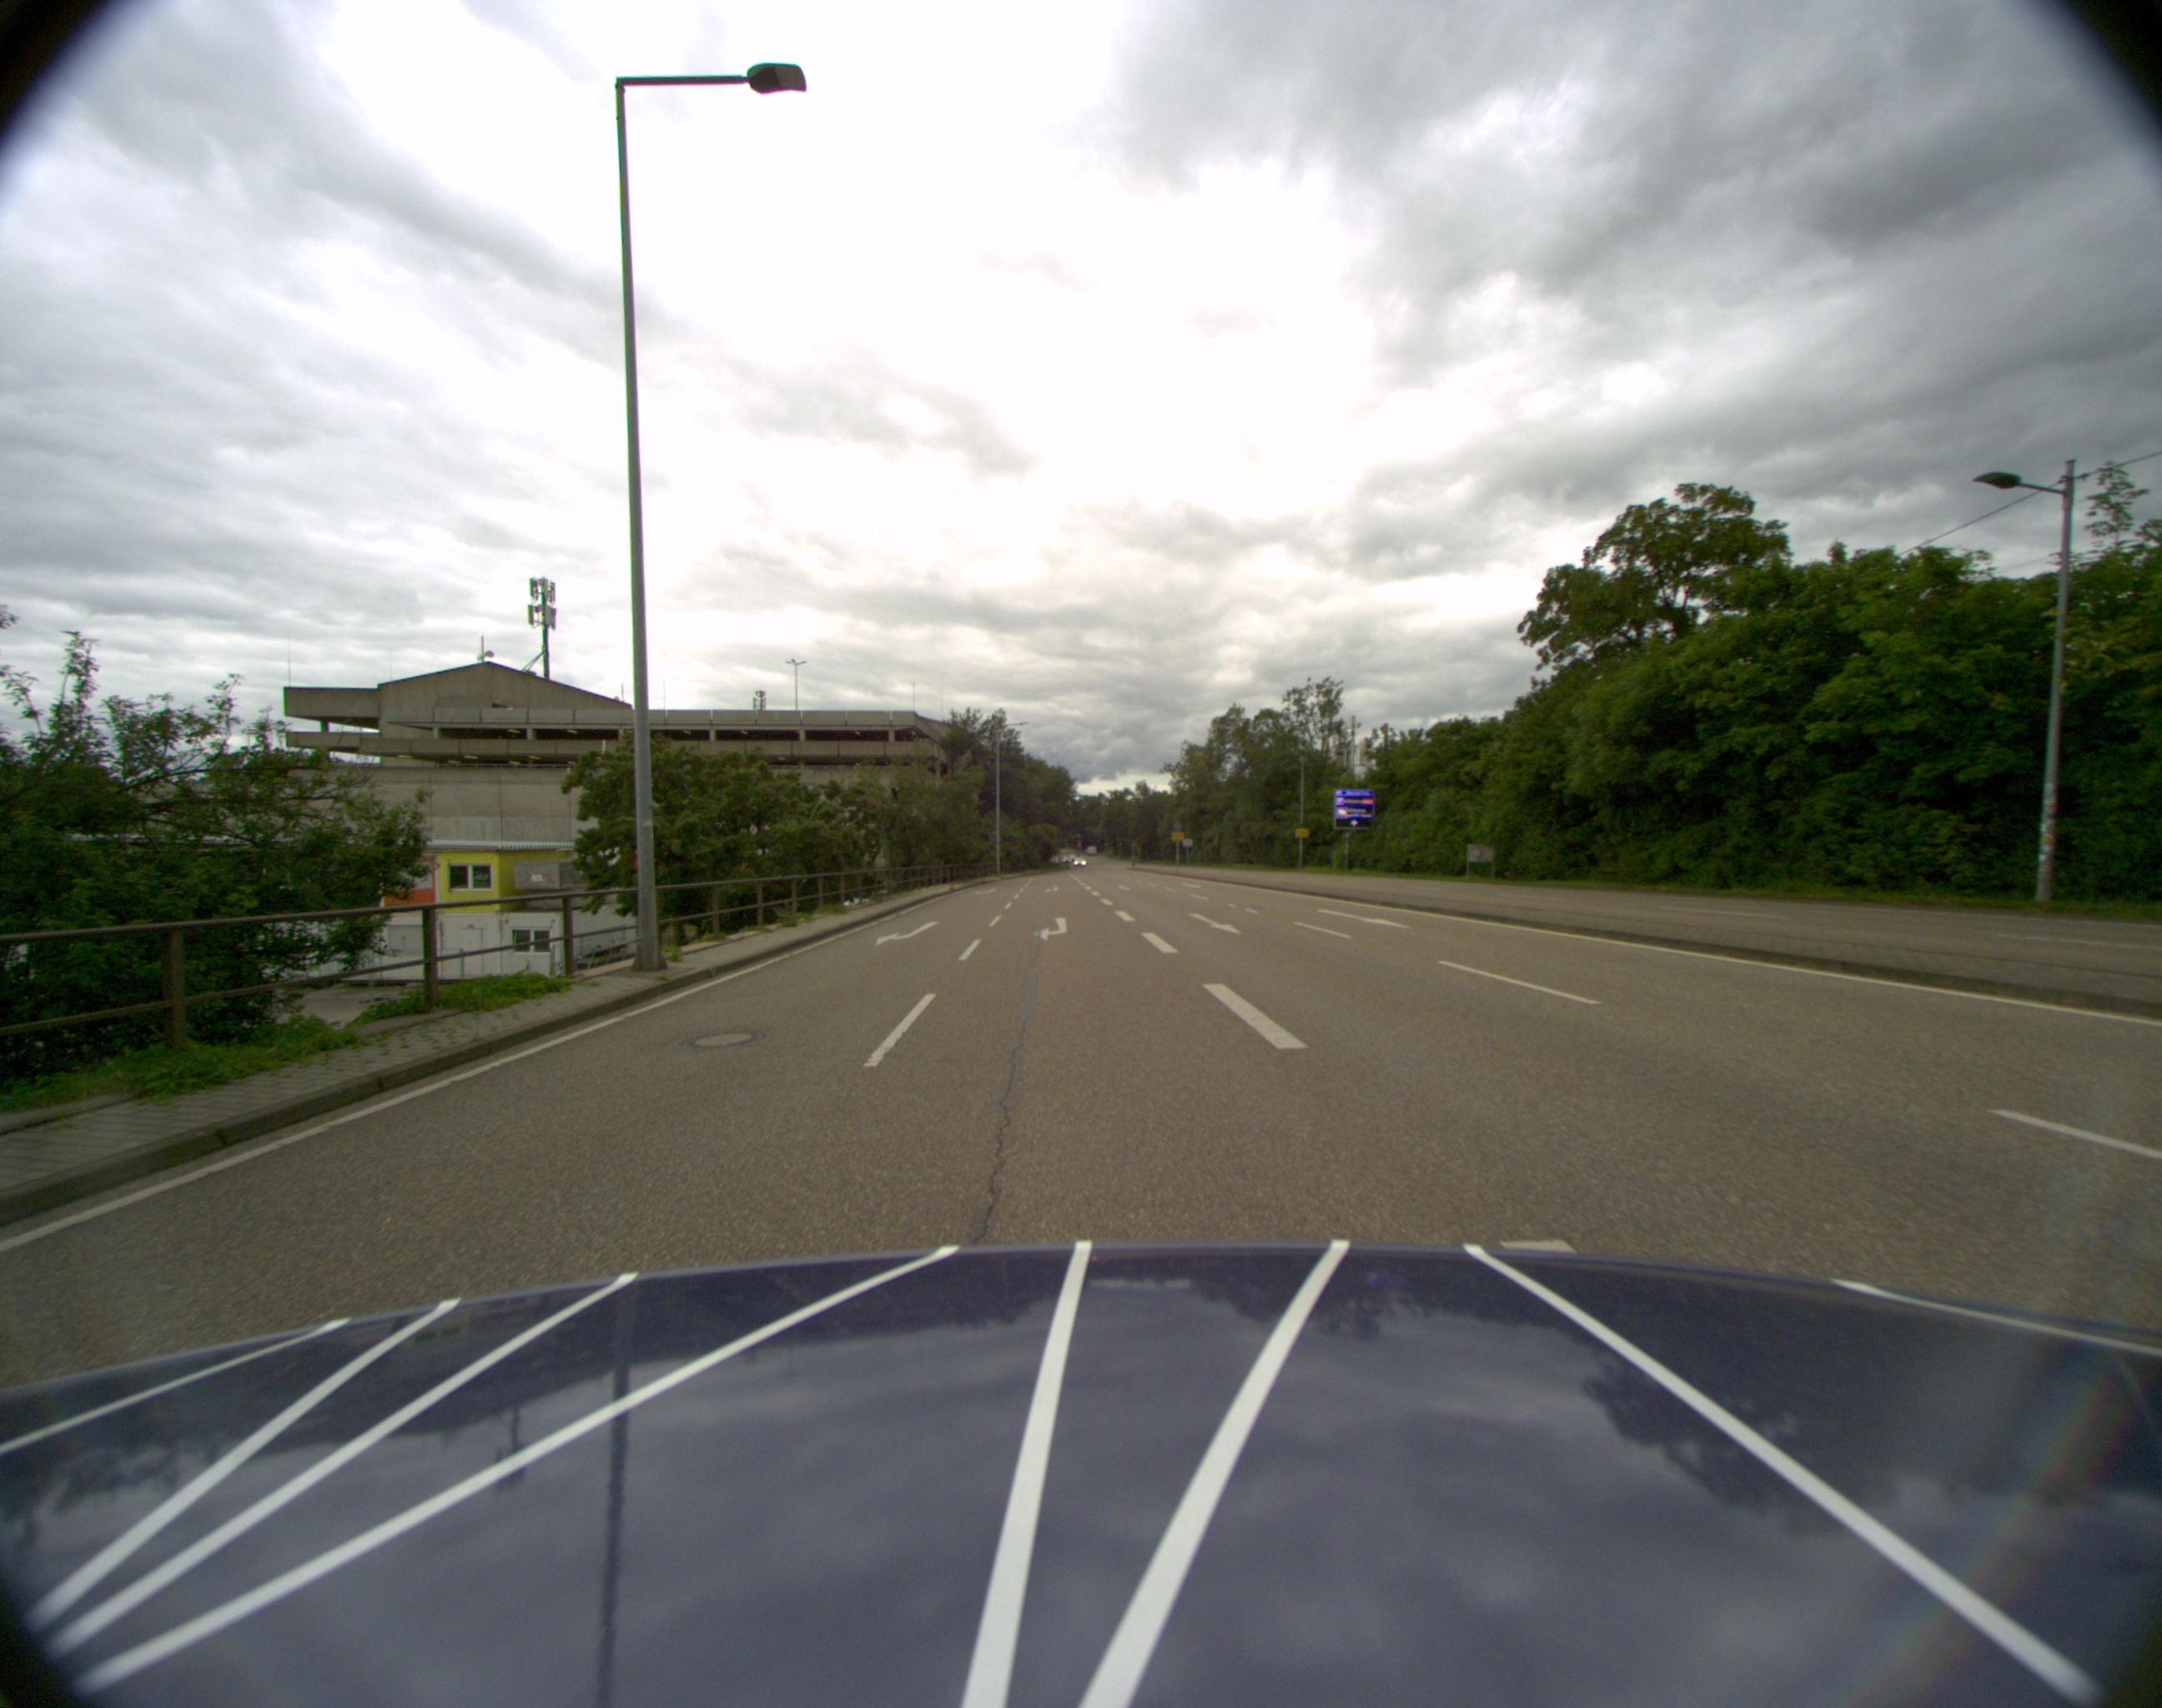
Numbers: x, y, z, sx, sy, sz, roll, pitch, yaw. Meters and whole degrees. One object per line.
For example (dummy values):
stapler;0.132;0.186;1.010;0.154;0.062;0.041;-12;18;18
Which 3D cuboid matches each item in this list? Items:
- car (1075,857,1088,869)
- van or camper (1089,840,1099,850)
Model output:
car;0.010;1.319;114.526;1.855;1.471;4.506;2;3;-1
van or camper;3.725;-2.534;216.097;2.289;2.540;6.857;-7;0;-2
